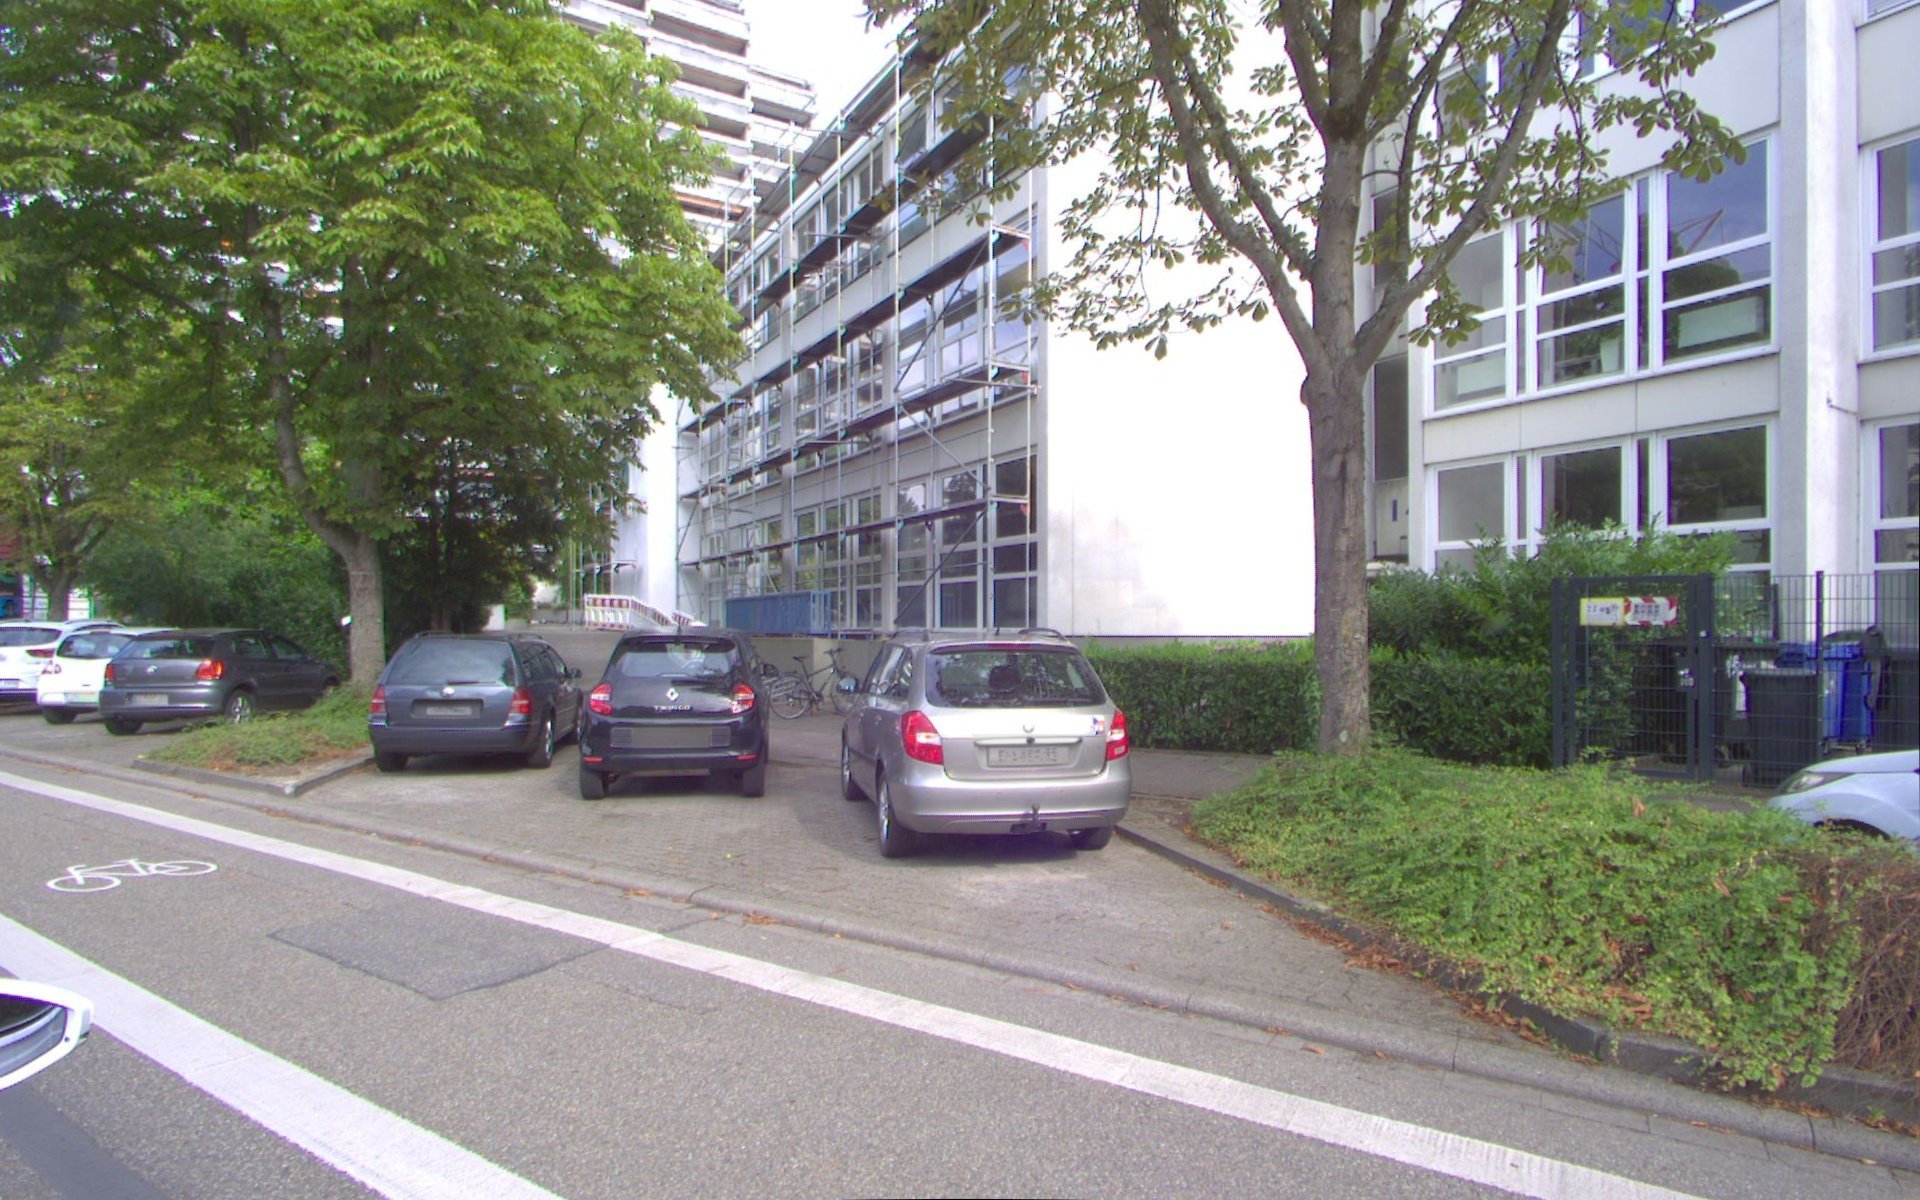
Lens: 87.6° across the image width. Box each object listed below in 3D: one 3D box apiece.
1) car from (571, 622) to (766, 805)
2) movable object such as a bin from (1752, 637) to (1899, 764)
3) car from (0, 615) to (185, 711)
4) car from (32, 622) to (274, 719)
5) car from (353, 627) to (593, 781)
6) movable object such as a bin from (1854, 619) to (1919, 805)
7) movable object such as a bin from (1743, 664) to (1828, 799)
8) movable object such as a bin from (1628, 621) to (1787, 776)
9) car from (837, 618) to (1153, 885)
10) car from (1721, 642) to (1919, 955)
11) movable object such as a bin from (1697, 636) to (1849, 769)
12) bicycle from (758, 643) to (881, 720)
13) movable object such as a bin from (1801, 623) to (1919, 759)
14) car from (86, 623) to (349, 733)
[{"bbox_3d":[-2.876,1.031,10.463,1.610,1.541,3.738,1,-2,-12],"label":"car"},{"bbox_3d":[10.118,1.140,11.720,1.021,1.385,1.072,2,-2,-33],"label":"movable object such as a bin"},{"bbox_3d":[-16.179,1.099,18.325,1.530,1.593,3.447,0,-1,-6],"label":"car"},{"bbox_3d":[-13.436,1.120,16.943,1.530,1.461,3.447,0,-1,-6],"label":"car"},{"bbox_3d":[-5.392,1.067,11.576,1.610,1.477,3.738,1,-2,-12],"label":"car"},{"bbox_3d":[8.534,0.937,8.456,1.316,1.527,1.067,0,-2,34],"label":"movable object such as a bin"},{"bbox_3d":[7.342,1.141,8.905,0.566,1.117,0.647,0,-2,42],"label":"movable object such as a bin"},{"bbox_3d":[8.030,1.017,10.770,1.105,1.542,1.072,2,-2,-33],"label":"movable object such as a bin"},{"bbox_3d":[0.015,0.948,7.800,1.610,1.541,3.738,1,-2,-12],"label":"car"},{"bbox_3d":[5.562,0.921,4.025,1.611,1.478,3.825,1,-2,-14],"label":"car"},{"bbox_3d":[9.132,1.108,11.265,1.021,1.385,1.072,2,-2,-33],"label":"movable object such as a bin"},{"bbox_3d":[-2.312,1.323,16.561,1.943,1.143,0.536,-1,0,-27],"label":"bicycle"},{"bbox_3d":[11.269,1.084,12.400,1.021,1.582,1.072,2,-2,-33],"label":"movable object such as a bin"},{"bbox_3d":[-11.000,1.092,15.170,1.593,1.461,3.536,0,-1,-6],"label":"car"}]
